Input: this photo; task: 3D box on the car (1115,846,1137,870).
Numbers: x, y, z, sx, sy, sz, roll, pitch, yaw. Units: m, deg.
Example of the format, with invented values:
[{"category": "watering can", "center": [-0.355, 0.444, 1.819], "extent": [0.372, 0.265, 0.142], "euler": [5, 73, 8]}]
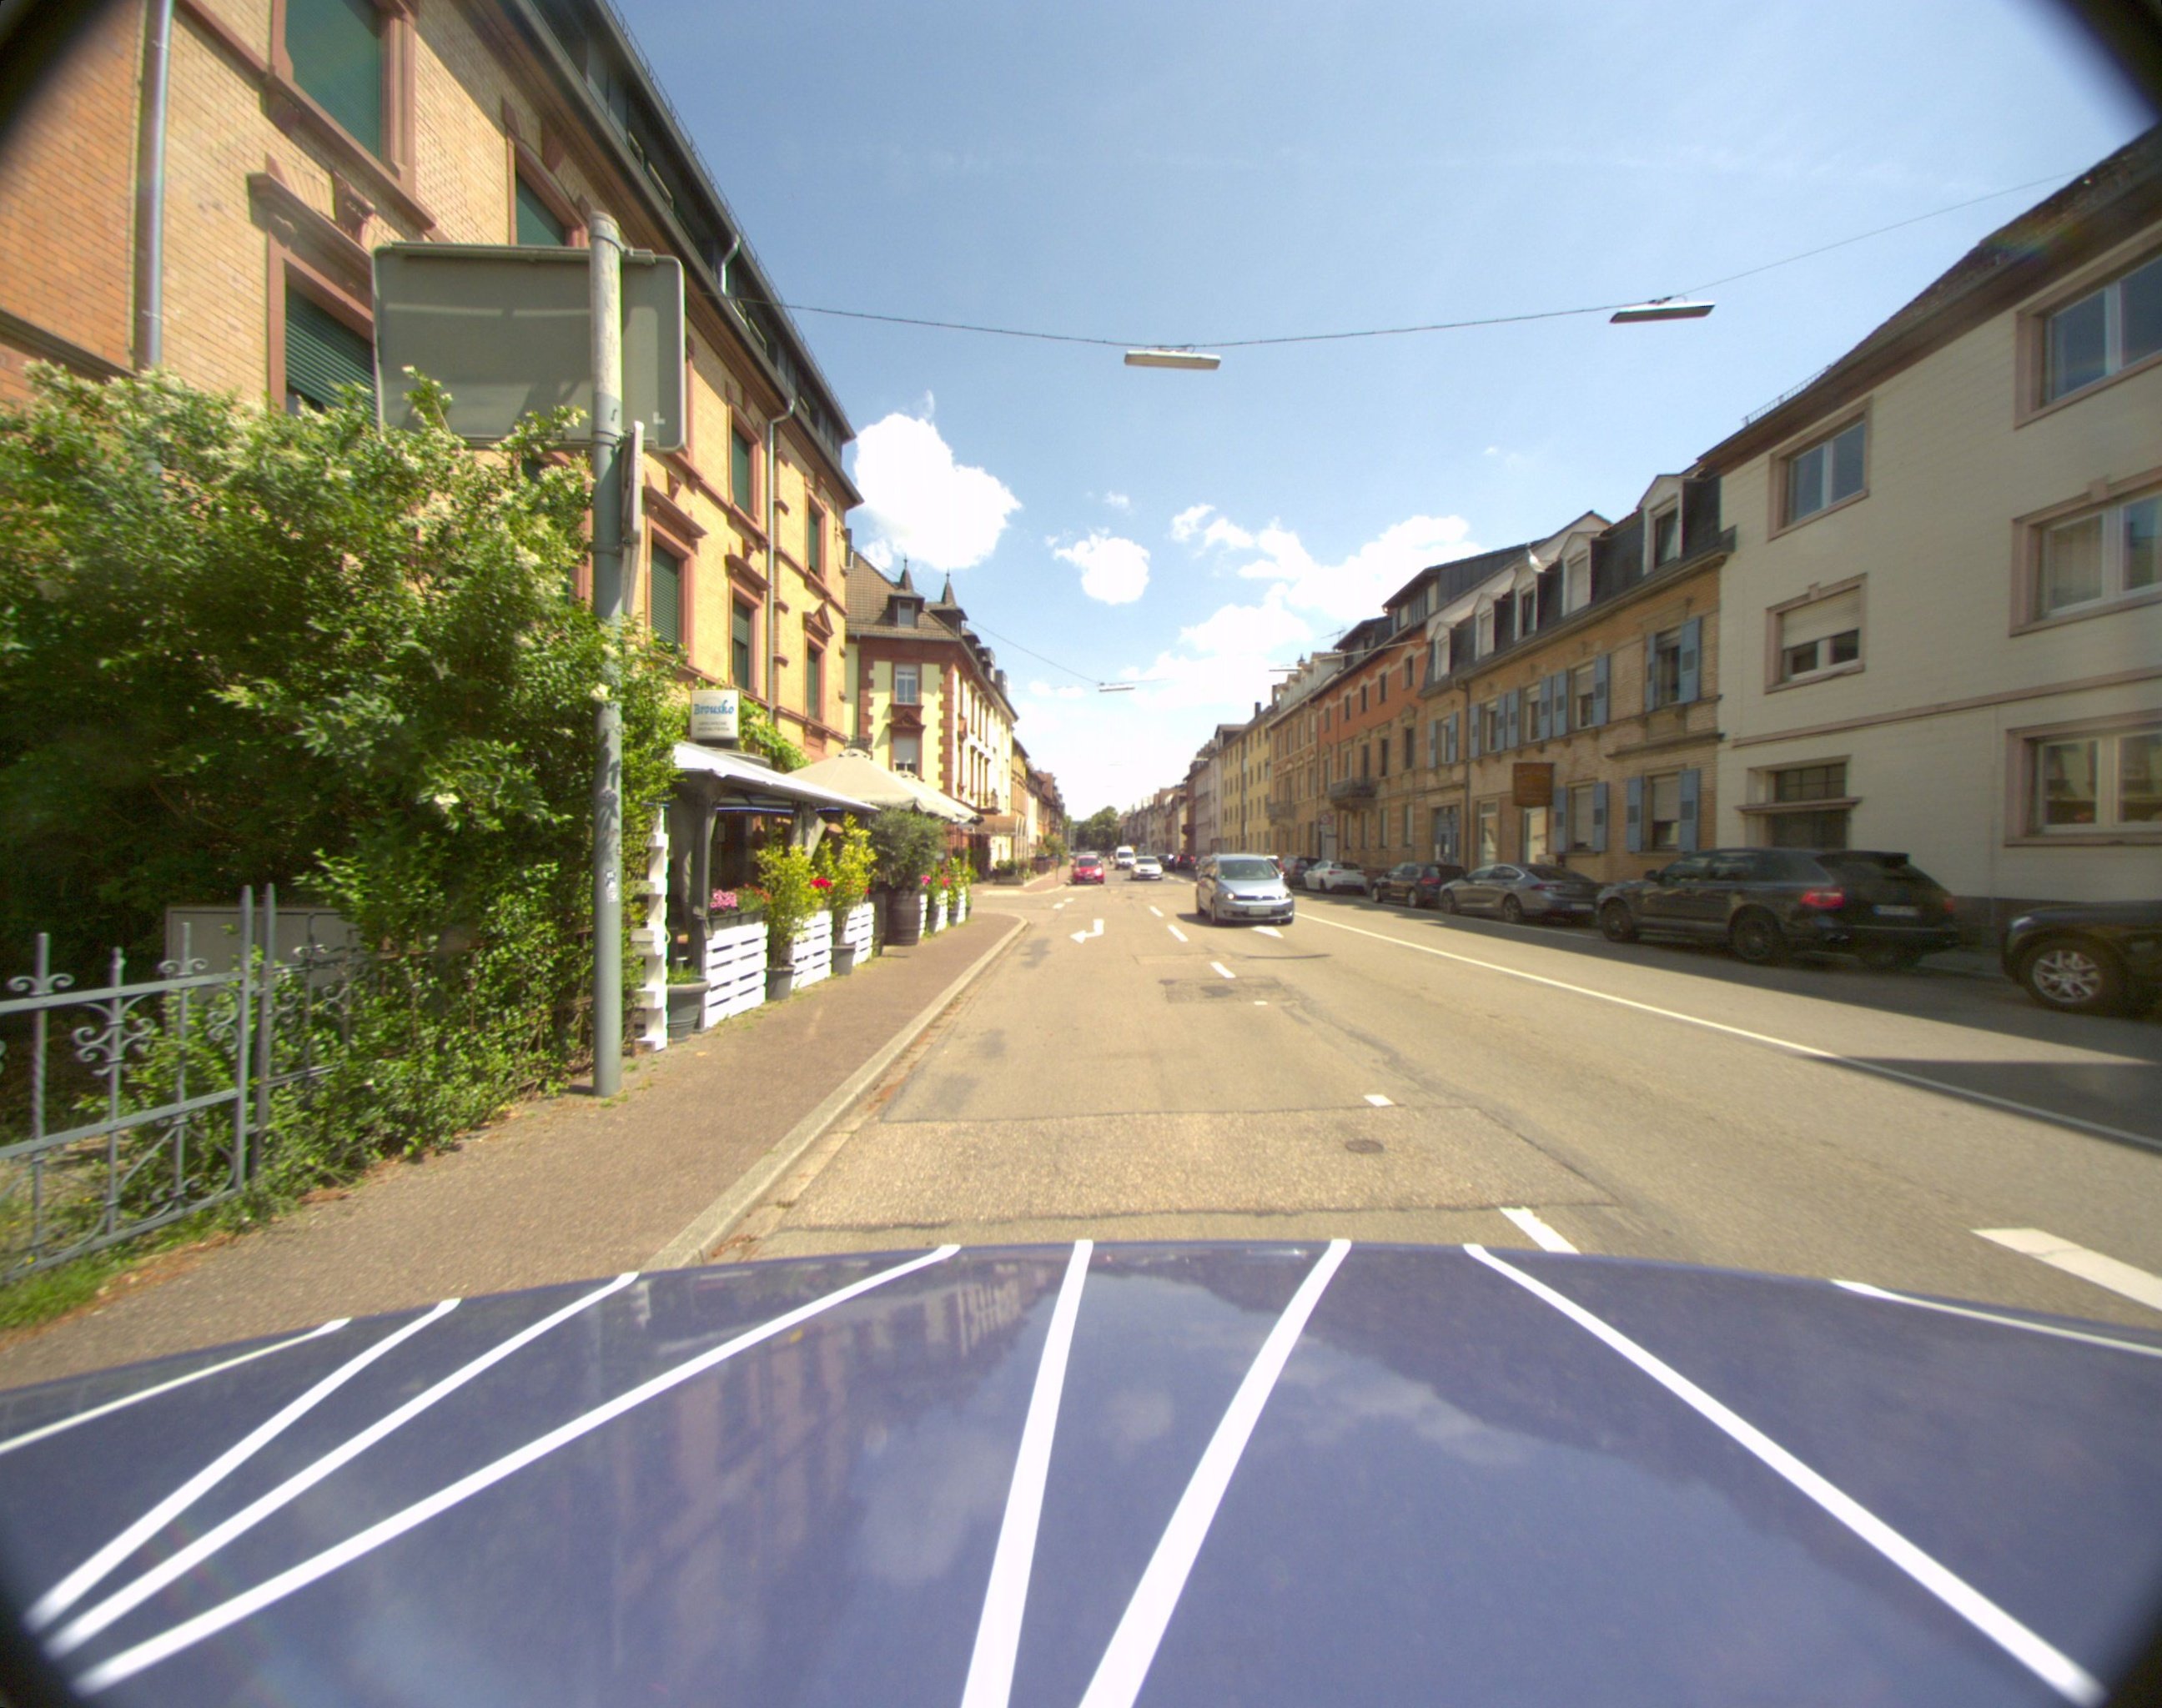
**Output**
[{"category": "car", "center": [4.374, 0.386, 74.085], "extent": [1.905, 2.261, 5.672], "euler": [0, 0, 1]}]

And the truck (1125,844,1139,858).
[{"category": "truck", "center": [10.051, -0.544, 150.389], "extent": [2.323, 2.725, 8.067], "euler": [0, 0, 0]}]

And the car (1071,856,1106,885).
[{"category": "car", "center": [0.365, 0.875, 42.505], "extent": [1.762, 1.470, 3.783], "euler": [-2, 0, -2]}]

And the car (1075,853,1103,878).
[{"category": "car", "center": [0.605, 0.777, 53.107], "extent": [1.761, 1.542, 4.066], "euler": [-2, 0, 2]}]

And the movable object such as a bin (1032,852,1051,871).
[{"category": "movable object such as a bin", "center": [-2.950, 0.583, 56.851], "extent": [1.285, 1.388, 1.364], "euler": [1, 1, 2]}]

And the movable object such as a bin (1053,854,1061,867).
[{"category": "movable object such as a bin", "center": [-2.265, 0.625, 72.690], "extent": [0.753, 1.235, 0.877], "euler": [0, 1, 0]}]

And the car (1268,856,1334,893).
[{"category": "car", "center": [10.859, 0.972, 37.888], "extent": [1.870, 1.618, 4.499], "euler": [4, 0, -1]}]

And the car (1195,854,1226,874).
[{"category": "car", "center": [11.061, 0.822, 65.203], "extent": [1.869, 1.542, 4.313], "euler": [4, 0, 0]}]

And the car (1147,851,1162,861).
[{"category": "car", "center": [11.446, 0.315, 118.239], "extent": [1.665, 1.403, 4.103], "euler": [4, 0, -2]}]

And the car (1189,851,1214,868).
[{"category": "car", "center": [11.087, 0.522, 70.142], "extent": [1.749, 1.403, 3.915], "euler": [4, 0, 2]}]

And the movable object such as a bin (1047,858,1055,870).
[{"category": "movable object such as a bin", "center": [-2.440, 0.826, 61.102], "extent": [0.626, 0.923, 0.612], "euler": [0, 1, 0]}]

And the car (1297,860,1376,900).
[{"category": "car", "center": [10.925, 1.073, 32.837], "extent": [1.869, 1.418, 4.330], "euler": [4, 0, 0]}]

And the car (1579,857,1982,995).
[{"category": "car", "center": [10.302, 0.911, 11.894], "extent": [1.889, 1.631, 4.818], "euler": [1, 0, 1]}]

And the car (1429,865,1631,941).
[{"category": "car", "center": [10.686, 1.085, 18.612], "extent": [1.870, 1.398, 4.836], "euler": [4, 0, -2]}]

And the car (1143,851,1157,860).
[{"category": "car", "center": [11.229, 0.225, 123.480], "extent": [1.665, 1.403, 4.103], "euler": [4, 0, -2]}]

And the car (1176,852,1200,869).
[{"category": "car", "center": [10.803, 0.681, 76.492], "extent": [1.746, 1.579, 3.958], "euler": [4, 0, 16]}]

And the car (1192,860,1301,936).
[{"category": "car", "center": [3.775, 0.938, 18.000], "extent": [1.758, 1.559, 4.000], "euler": [-1, 0, 1]}]

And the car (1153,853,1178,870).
[{"category": "car", "center": [7.608, 0.689, 68.669], "extent": [1.764, 1.486, 4.245], "euler": [1, 0, 0]}]

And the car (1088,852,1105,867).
[{"category": "car", "center": [1.618, 0.598, 81.842], "extent": [1.708, 1.470, 3.931], "euler": [-2, 0, 0]}]

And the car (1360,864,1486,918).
[{"category": "car", "center": [10.780, 1.107, 24.339], "extent": [1.870, 1.398, 4.329], "euler": [4, 0, -3]}]

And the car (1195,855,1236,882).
[{"category": "car", "center": [7.887, 0.833, 44.876], "extent": [1.706, 1.469, 4.133], "euler": [1, 0, 1]}]

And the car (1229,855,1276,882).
[{"category": "car", "center": [11.105, 0.912, 49.490], "extent": [1.870, 1.542, 4.500], "euler": [4, 0, -1]}]

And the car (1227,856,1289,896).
[{"category": "car", "center": [7.510, 0.899, 32.602], "extent": [1.706, 1.565, 4.312], "euler": [1, 0, 1]}]

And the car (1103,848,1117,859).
[{"category": "car", "center": [3.814, -0.072, 100.683], "extent": [1.904, 1.489, 4.487], "euler": [0, 0, 1]}]

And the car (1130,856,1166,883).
[{"category": "car", "center": [4.060, 0.912, 46.647], "extent": [1.905, 1.489, 4.487], "euler": [0, 0, 1]}]

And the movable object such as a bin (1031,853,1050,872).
[{"category": "movable object such as a bin", "center": [-2.960, 0.615, 55.435], "extent": [1.285, 1.388, 1.413], "euler": [1, 1, 2]}]

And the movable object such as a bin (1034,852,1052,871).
[{"category": "movable object such as a bin", "center": [-2.895, 0.551, 58.220], "extent": [1.285, 1.402, 1.305], "euler": [1, 1, 2]}]

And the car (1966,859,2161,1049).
[{"category": "car", "center": [10.359, 0.905, 5.713], "extent": [1.890, 1.631, 4.662], "euler": [1, 0, -1]}]
